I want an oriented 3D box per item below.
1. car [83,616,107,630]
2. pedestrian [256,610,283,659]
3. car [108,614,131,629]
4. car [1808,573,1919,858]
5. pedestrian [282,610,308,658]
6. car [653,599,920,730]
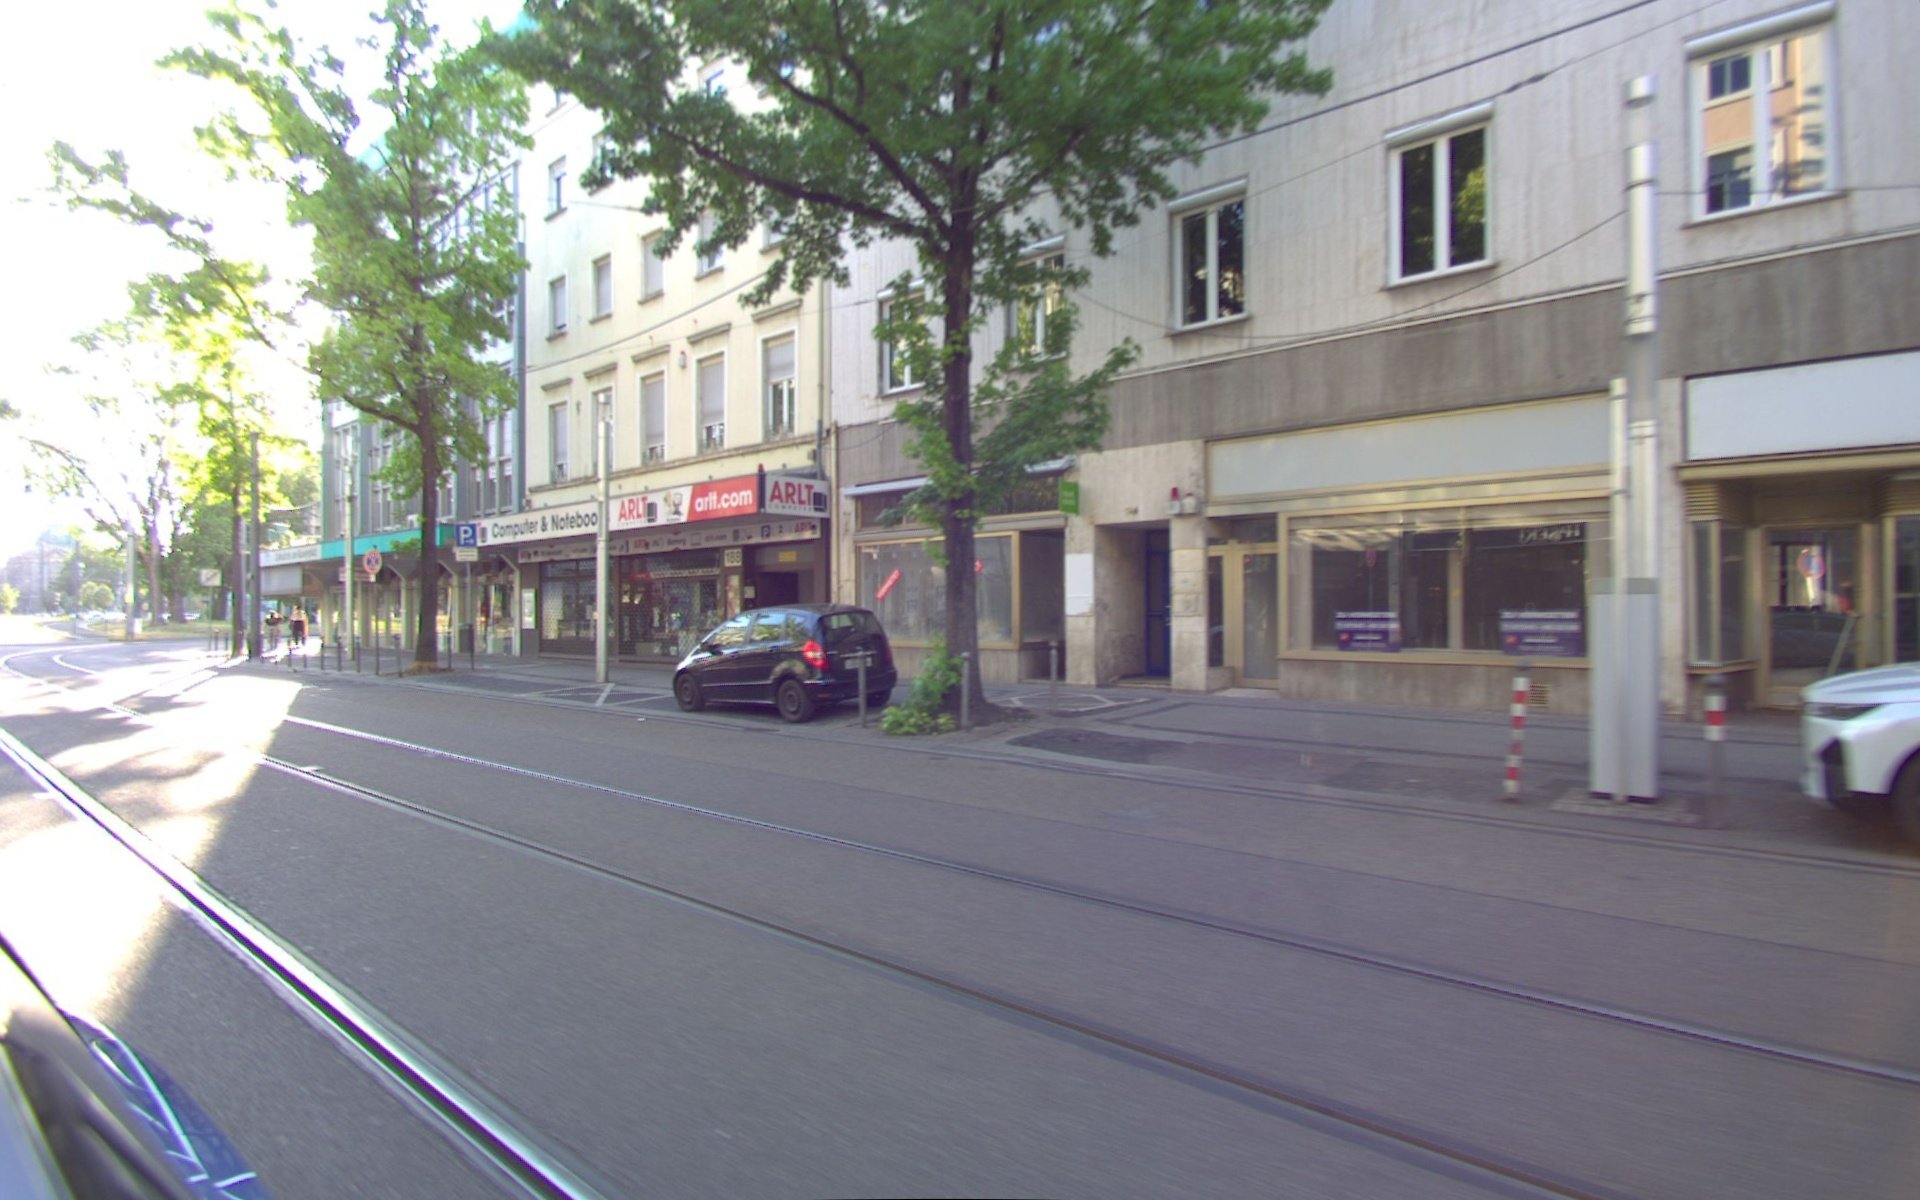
[{"bbox_3d":[-126.776,3.317,148.353,4.544,2.029,1.974,-1,0,40],"label":"car"},{"bbox_3d":[-29.121,1.453,42.681,0.734,2.029,0.788,0,0,43],"label":"pedestrian"},{"bbox_3d":[-117.589,2.951,141.572,4.000,2.029,1.972,-1,-1,43],"label":"car"},{"bbox_3d":[7.772,0.656,5.466,4.812,1.652,1.941,-1,2,43],"label":"car"},{"bbox_3d":[-28.423,1.429,43.242,0.734,2.029,0.788,0,0,43],"label":"pedestrian"},{"bbox_3d":[-2.725,0.867,15.399,4.000,1.652,1.941,-1,2,43],"label":"car"}]
